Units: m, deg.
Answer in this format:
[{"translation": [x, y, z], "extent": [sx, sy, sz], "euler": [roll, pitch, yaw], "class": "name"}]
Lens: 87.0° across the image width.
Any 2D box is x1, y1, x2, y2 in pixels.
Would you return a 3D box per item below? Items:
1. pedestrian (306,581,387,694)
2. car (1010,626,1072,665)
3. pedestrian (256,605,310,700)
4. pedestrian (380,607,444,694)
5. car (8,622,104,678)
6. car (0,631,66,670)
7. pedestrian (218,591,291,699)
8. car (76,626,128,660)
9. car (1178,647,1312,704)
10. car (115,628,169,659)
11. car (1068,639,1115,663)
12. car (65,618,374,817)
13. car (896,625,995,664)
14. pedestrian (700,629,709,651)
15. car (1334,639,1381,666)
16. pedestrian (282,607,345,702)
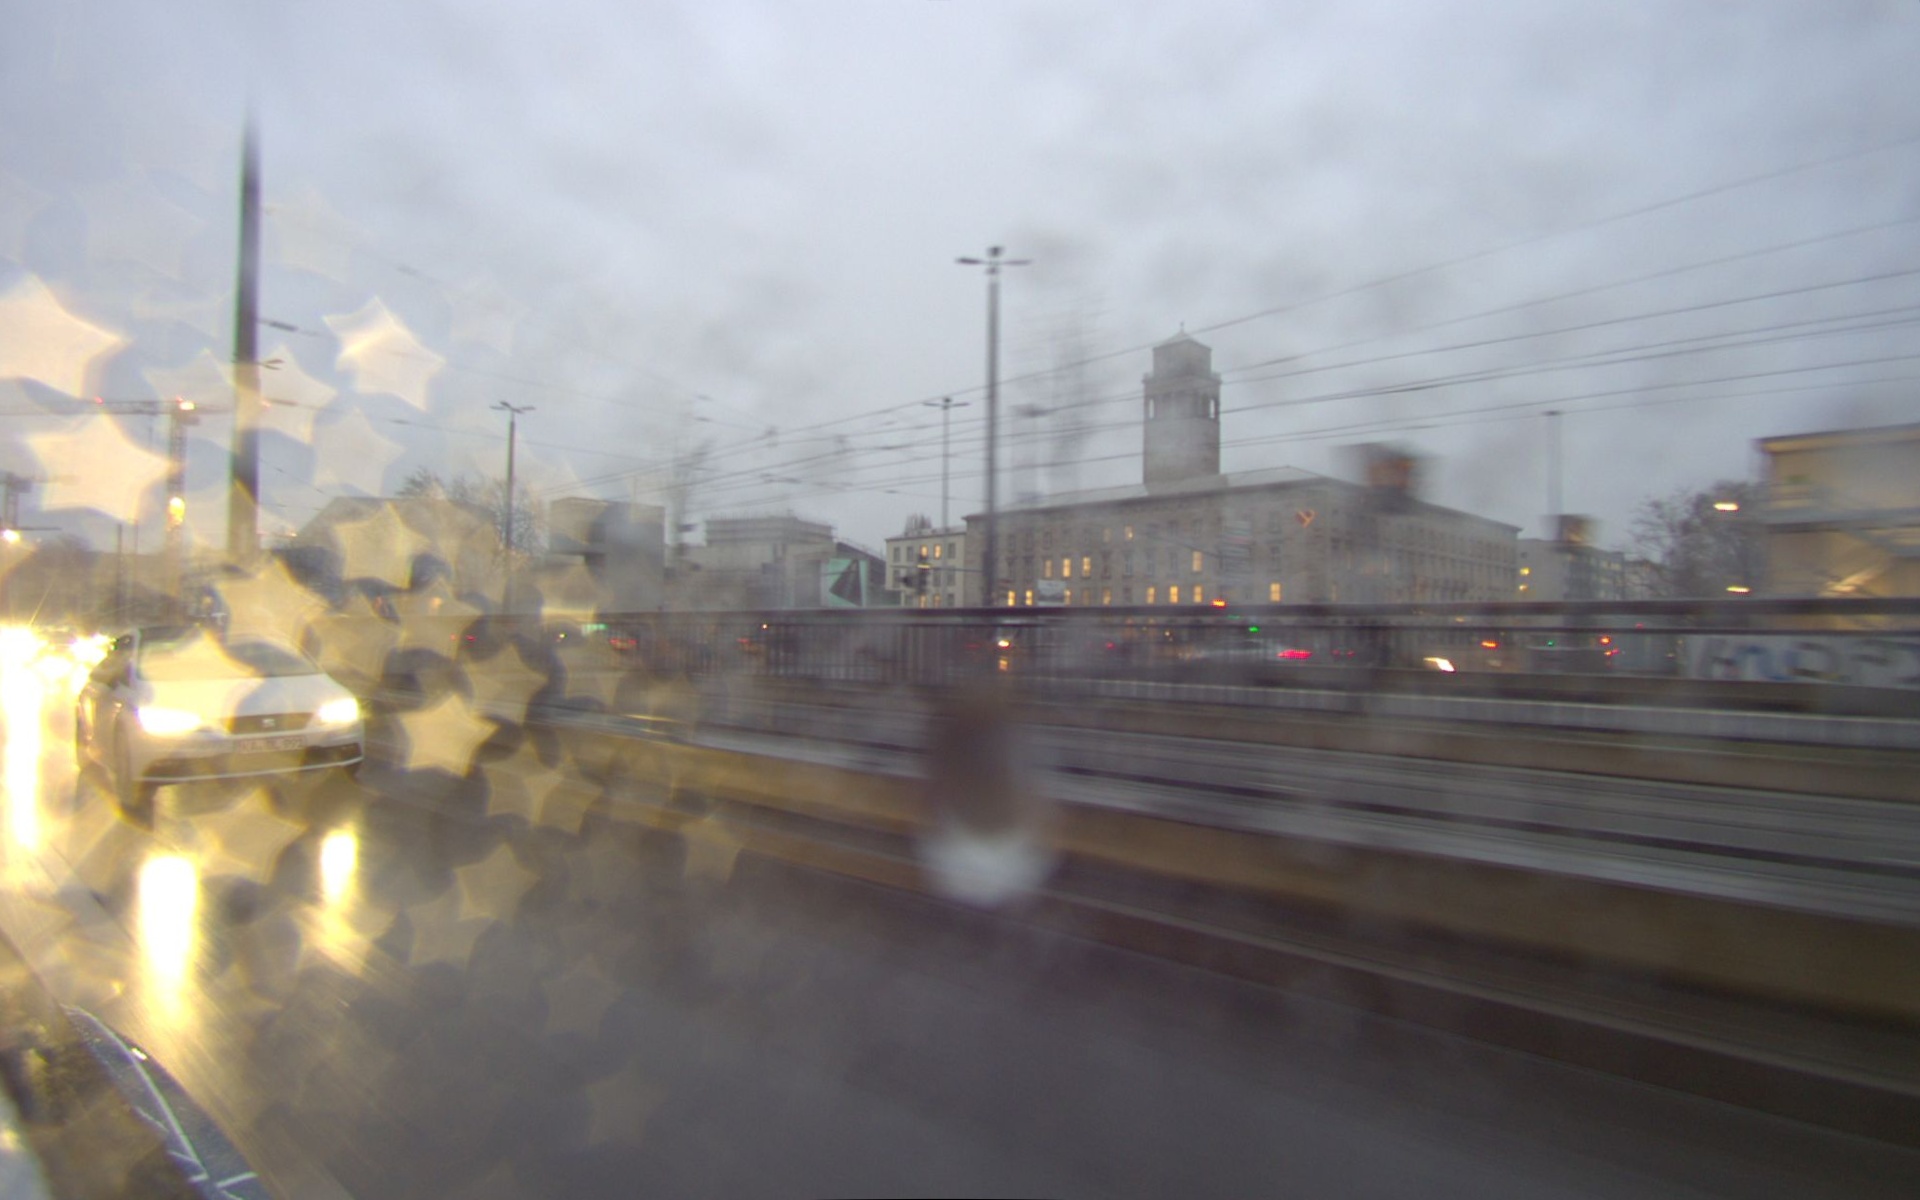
[{"translation": [-12.501, 0.758, 20.656], "extent": [0.949, 2.224, 1.048], "euler": [-1, -1, 15], "class": "pedestrian"}, {"translation": [5.800, 3.199, 72.185], "extent": [4.374, 2.732, 2.001], "euler": [1, -2, -44], "class": "car"}, {"translation": [-12.695, 0.963, 18.990], "extent": [0.656, 1.748, 0.607], "euler": [1, -1, -12], "class": "pedestrian"}, {"translation": [-11.161, 1.016, 20.621], "extent": [0.757, 1.727, 0.857], "euler": [-1, -1, 15], "class": "pedestrian"}, {"translation": [-29.093, 1.553, 32.549], "extent": [4.000, 1.696, 1.971], "euler": [-1, -2, 43], "class": "car"}, {"translation": [-42.683, 2.294, 46.567], "extent": [3.986, 1.674, 1.843], "euler": [-1, -2, 42], "class": "car"}, {"translation": [-14.681, 0.920, 21.056], "extent": [1.014, 2.162, 0.897], "euler": [-1, -2, 30], "class": "pedestrian"}, {"translation": [-50.456, 2.524, 59.498], "extent": [4.000, 1.896, 1.926], "euler": [-2, -2, 43], "class": "car"}, {"translation": [10.440, 2.723, 37.218], "extent": [4.379, 1.887, 1.855], "euler": [-1, -2, 38], "class": "car"}, {"translation": [-43.788, 2.305, 54.162], "extent": [3.929, 1.541, 1.775], "euler": [-2, -2, 43], "class": "car"}, {"translation": [7.438, 2.848, 57.115], "extent": [1.446, 1.284, 3.125], "euler": [-1, -2, 32], "class": "car"}, {"translation": [-7.230, 0.948, 9.710], "extent": [1.789, 1.484, 4.141], "euler": [1, -2, -45], "class": "car"}, {"translation": [-0.677, 1.955, 45.055], "extent": [4.227, 1.628, 1.855], "euler": [-1, -2, 38], "class": "car"}, {"translation": [-20.207, 3.141, 79.904], "extent": [0.646, 1.678, 0.743], "euler": [1, -2, -12], "class": "pedestrian"}, {"translation": [29.876, 3.911, 76.034], "extent": [4.135, 1.893, 1.758], "euler": [1, -2, -44], "class": "car"}, {"translation": [-12.008, 0.999, 18.820], "extent": [0.743, 1.731, 0.651], "euler": [-1, -1, 15], "class": "pedestrian"}]
